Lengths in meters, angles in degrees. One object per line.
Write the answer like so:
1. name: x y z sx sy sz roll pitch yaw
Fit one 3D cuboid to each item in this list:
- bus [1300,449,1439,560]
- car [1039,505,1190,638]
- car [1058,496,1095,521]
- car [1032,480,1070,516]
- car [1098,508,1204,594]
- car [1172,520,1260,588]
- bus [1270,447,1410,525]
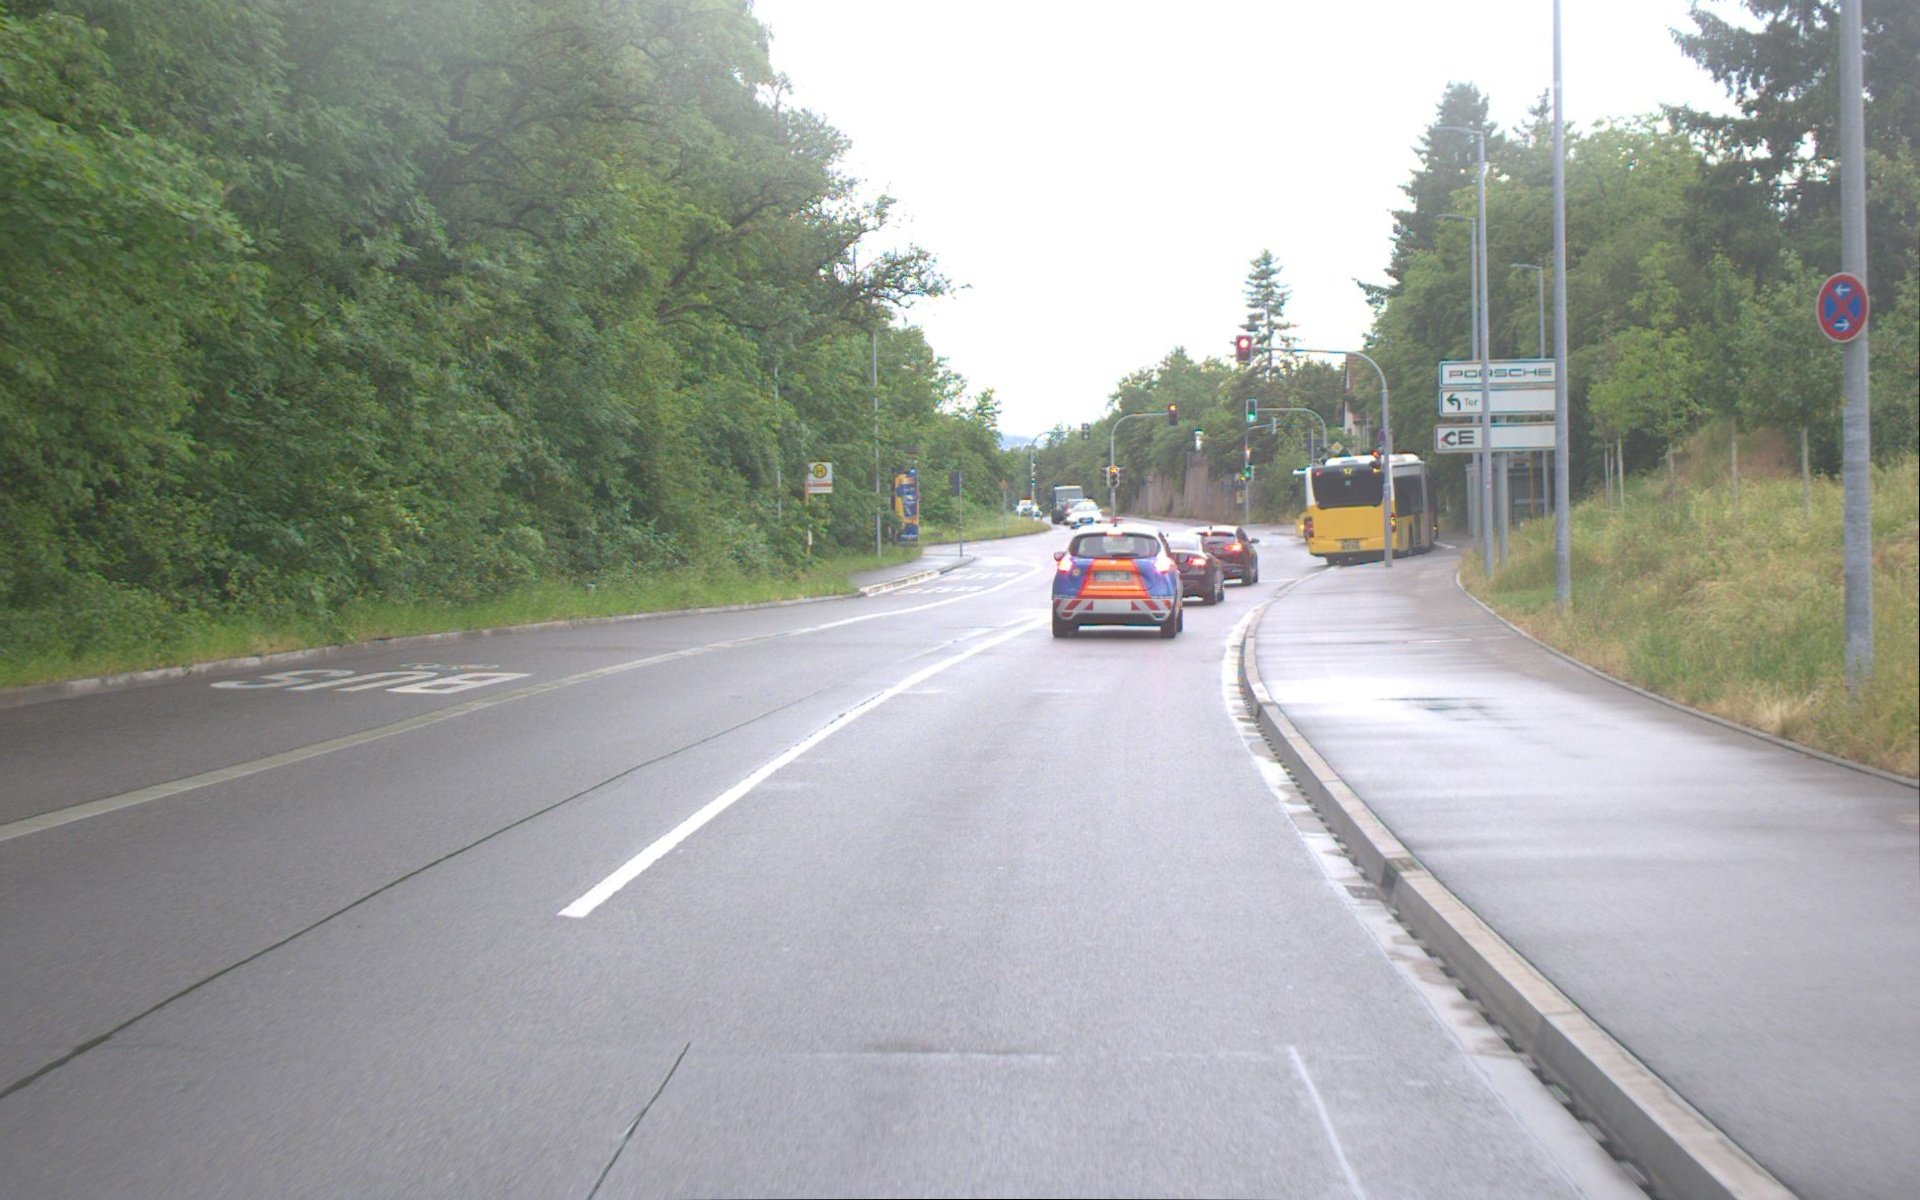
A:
1. bus: 12.187 -2.768 101.562 2.819 3.132 9.174 0 1 15
2. car: 2.192 -0.442 48.437 1.994 1.683 4.000 -2 2 3
3. car: 6.866 -5.363 202.410 1.993 1.415 4.000 0 1 -1
4. car: 6.065 -6.819 229.589 2.269 2.327 5.589 0 1 -1
5. car: 3.677 -0.957 65.829 1.927 1.481 3.799 -2 2 4
6. car: 5.975 -1.090 80.318 1.994 1.546 4.000 0 1 4
7. bus: 14.279 -4.244 130.277 2.816 2.796 10.642 0 1 -7
